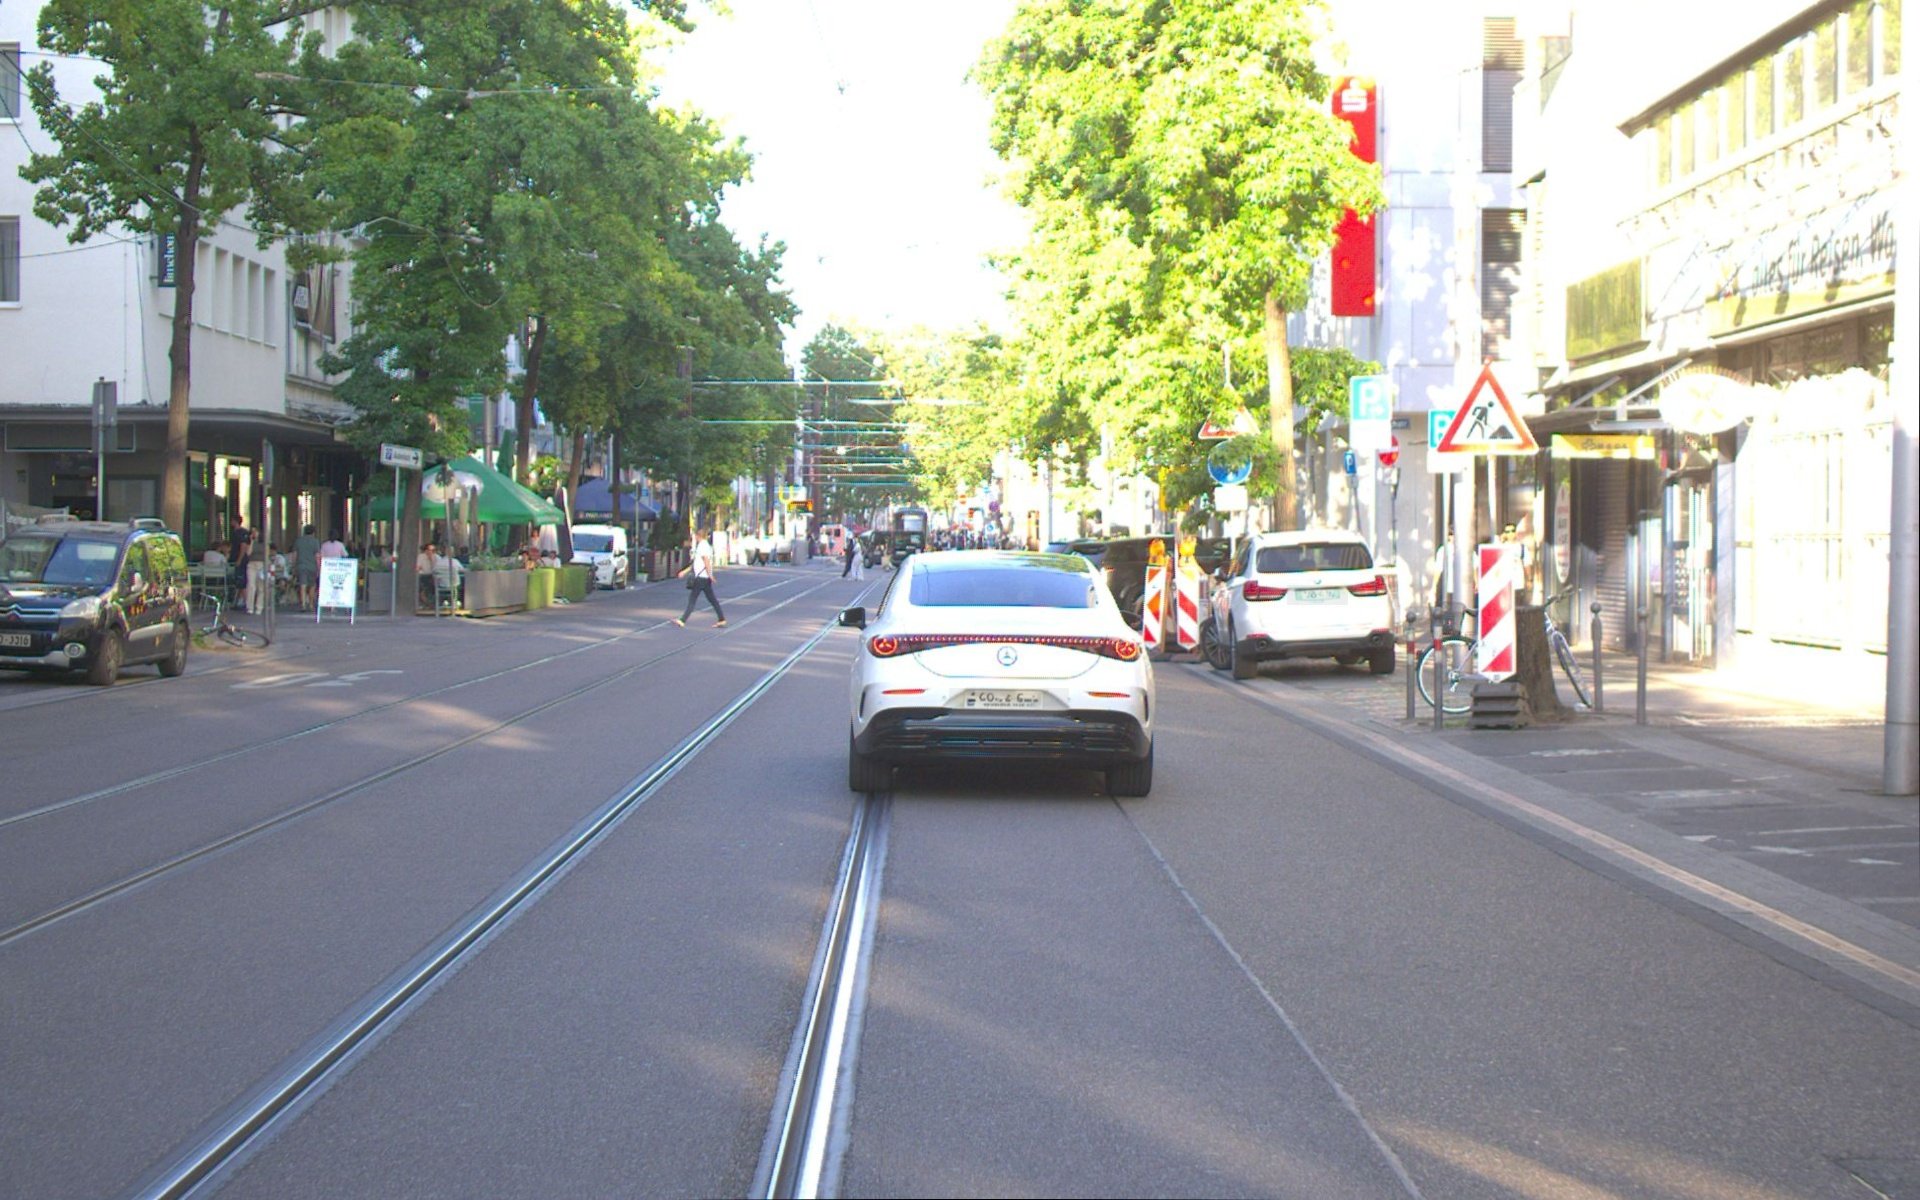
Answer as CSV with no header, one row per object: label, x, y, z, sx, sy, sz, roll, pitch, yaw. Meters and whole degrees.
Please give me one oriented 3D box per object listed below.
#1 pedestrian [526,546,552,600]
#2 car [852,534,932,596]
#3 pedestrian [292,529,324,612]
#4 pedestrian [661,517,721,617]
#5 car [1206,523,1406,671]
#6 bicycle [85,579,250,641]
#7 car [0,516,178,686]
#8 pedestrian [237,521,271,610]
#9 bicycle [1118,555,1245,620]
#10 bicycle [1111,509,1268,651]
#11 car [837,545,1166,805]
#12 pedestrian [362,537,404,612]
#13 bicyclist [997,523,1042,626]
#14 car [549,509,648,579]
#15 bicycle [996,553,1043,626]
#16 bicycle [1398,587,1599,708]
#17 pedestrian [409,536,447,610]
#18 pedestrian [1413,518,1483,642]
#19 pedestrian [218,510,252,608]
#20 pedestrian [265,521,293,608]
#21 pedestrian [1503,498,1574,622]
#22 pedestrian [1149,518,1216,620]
pedestrian,-9.690,-0.617,79.168,0.517,1.229,0.650,0,1,1
car,-3.473,-1.820,177.052,4.038,3.103,8.432,0,1,-1
pedestrian,-12.652,-0.573,66.742,0.517,1.610,0.650,0,1,-1
pedestrian,-4.774,-0.594,61.007,0.919,1.768,0.874,0,1,-15
car,4.159,-0.083,41.980,1.993,1.722,4.241,0,1,0
bicycle,-11.100,0.138,48.152,2.255,0.827,0.716,1,1,22
car,-9.943,-0.028,37.910,1.553,1.789,3.166,0,1,8
pedestrian,-13.173,-0.643,64.141,0.517,1.647,0.650,0,1,-1
bicycle,3.877,-0.224,60.182,2.047,1.132,0.874,0,1,-15
bicycle,3.325,-0.308,50.494,1.993,2.007,4.000,0,1,-1
car,0.165,0.397,21.678,1.868,1.464,4.043,0,1,-2
pedestrian,-11.351,-0.509,67.635,0.569,1.459,0.649,1,1,19
bicyclist,0.975,-0.425,56.840,0.724,1.697,0.811,0,1,0
car,-10.516,-1.640,100.301,1.994,2.007,3.999,0,1,8
bicycle,0.980,-0.184,57.061,0.740,1.184,2.160,0,1,0
bicycle,4.816,0.419,30.793,1.723,1.058,0.581,0,1,3
pedestrian,-10.702,-0.542,69.109,0.517,1.473,0.650,-3,0,-28
pedestrian,6.994,-0.291,49.308,0.799,1.768,0.683,0,1,-12
pedestrian,-13.803,-0.790,65.490,0.517,1.849,0.650,0,1,-1
pedestrian,-13.911,-0.734,70.249,0.517,1.775,0.609,0,1,-8
pedestrian,8.358,-0.579,49.683,0.799,1.768,0.683,0,1,-12
pedestrian,3.892,-0.554,60.188,0.919,1.768,0.874,0,1,-15
